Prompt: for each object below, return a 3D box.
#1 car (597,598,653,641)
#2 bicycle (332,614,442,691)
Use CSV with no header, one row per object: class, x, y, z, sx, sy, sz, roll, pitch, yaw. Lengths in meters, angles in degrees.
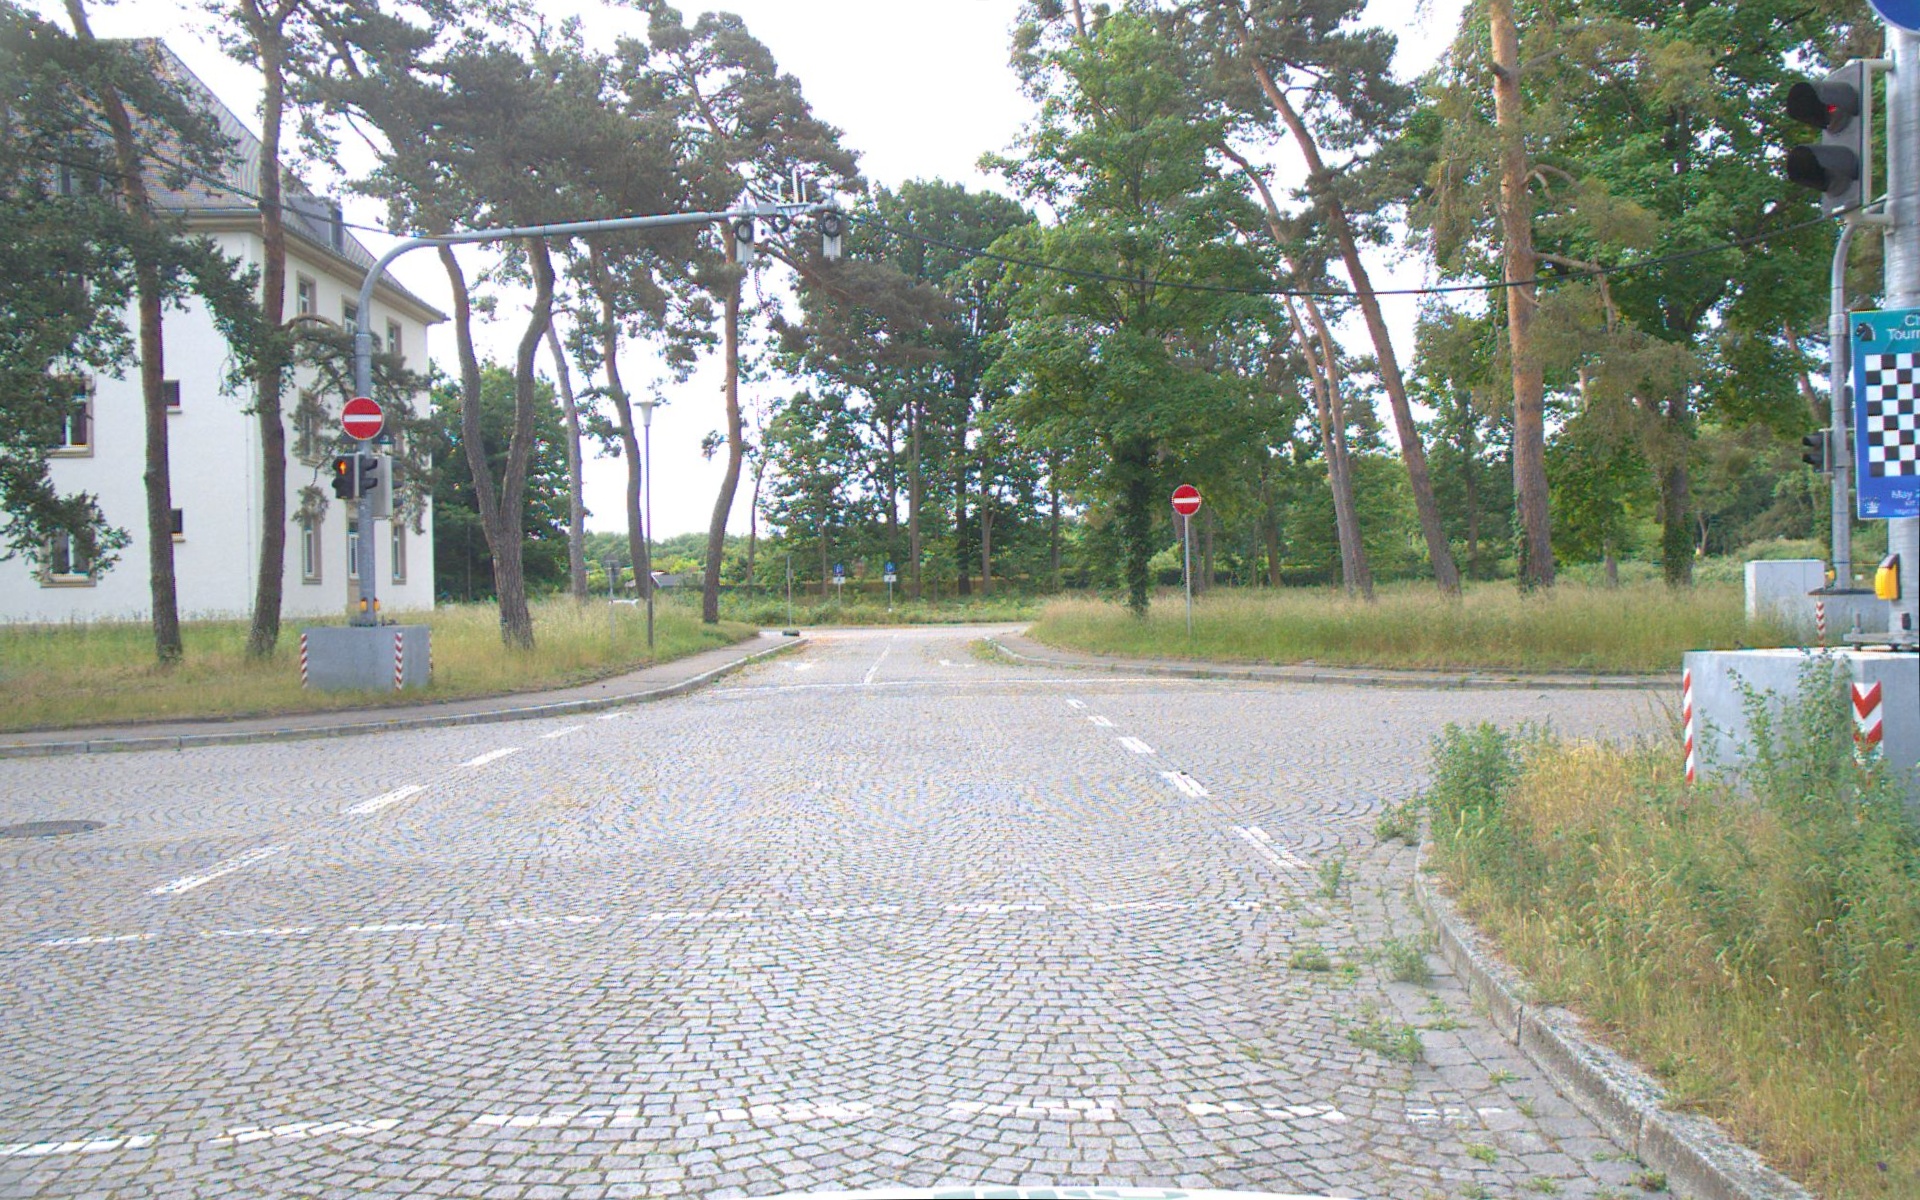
car,-15.124,0.857,74.778,1.954,1.878,3.997,0,0,-4
bicycle,-8.614,0.788,24.879,1.435,1.083,0.516,-2,1,-3
